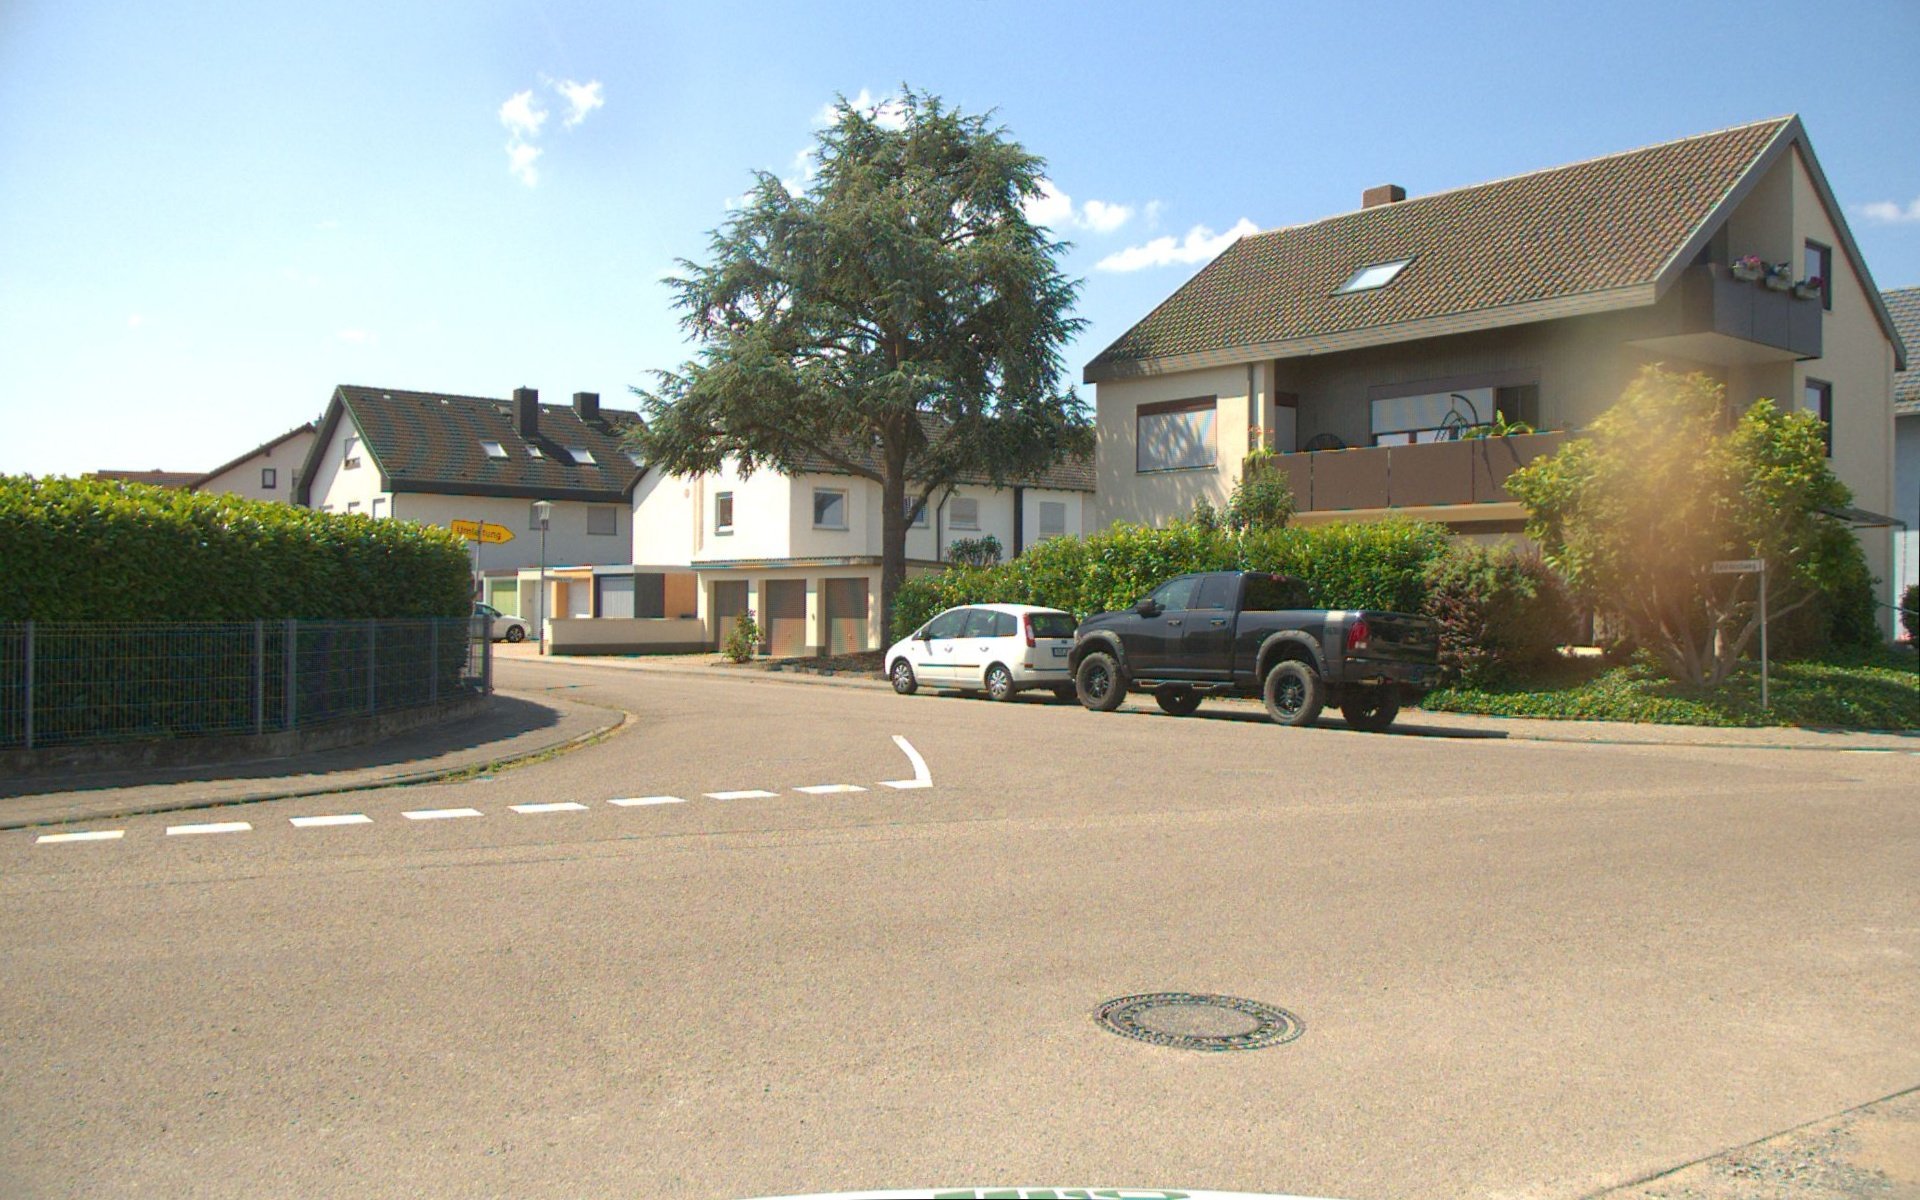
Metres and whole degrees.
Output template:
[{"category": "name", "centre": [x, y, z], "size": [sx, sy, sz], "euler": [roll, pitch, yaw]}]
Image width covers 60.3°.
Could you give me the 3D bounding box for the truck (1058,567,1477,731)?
[{"category": "truck", "centre": [4.218, 0.643, 23.546], "size": [2.351, 2.049, 5.624], "euler": [2, -1, -42]}]

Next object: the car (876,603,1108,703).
[{"category": "car", "centre": [0.493, 0.866, 28.813], "size": [1.788, 1.590, 4.080], "euler": [1, 0, -41]}]

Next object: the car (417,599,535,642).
[{"category": "car", "centre": [-16.803, 0.701, 57.511], "size": [3.577, 1.433, 1.758], "euler": [1, 0, -40]}]
